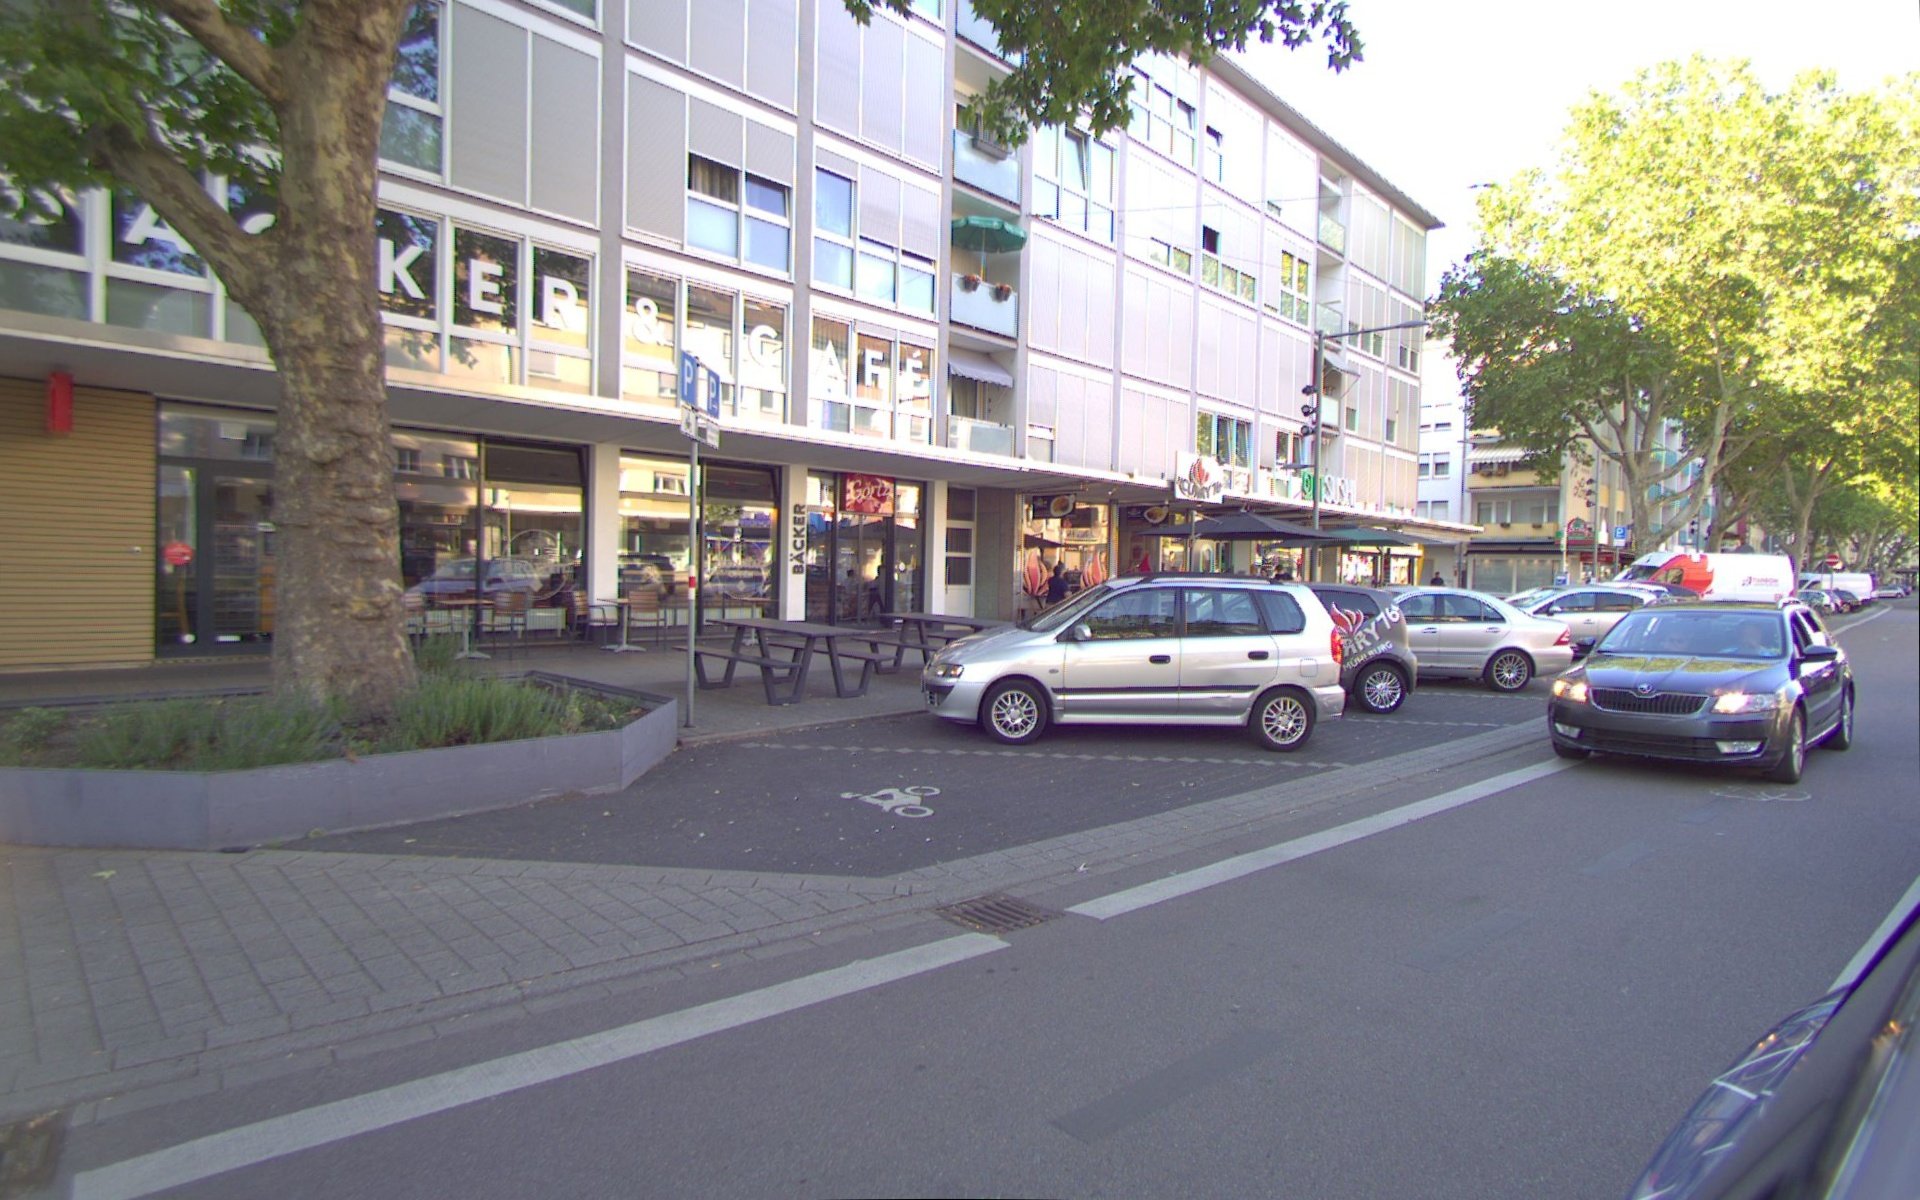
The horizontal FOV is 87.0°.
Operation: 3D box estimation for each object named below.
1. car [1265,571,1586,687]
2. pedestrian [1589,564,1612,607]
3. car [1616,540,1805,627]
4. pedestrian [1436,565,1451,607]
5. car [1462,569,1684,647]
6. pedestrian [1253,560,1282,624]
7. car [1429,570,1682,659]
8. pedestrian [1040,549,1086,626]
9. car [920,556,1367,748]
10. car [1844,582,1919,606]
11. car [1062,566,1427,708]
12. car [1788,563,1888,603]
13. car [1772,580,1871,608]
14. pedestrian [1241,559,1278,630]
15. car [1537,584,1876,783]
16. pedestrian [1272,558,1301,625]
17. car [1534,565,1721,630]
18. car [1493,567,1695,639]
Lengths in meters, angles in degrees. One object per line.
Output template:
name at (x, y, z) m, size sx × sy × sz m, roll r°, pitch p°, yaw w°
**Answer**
car at (6.671, 0.380, 14.805) m, size 3.867 × 1.418 × 1.598 m, roll 2°, pitch 3°, yaw 1°
pedestrian at (31.112, -0.718, 49.151) m, size 0.746 × 2.038 × 0.752 m, roll 3°, pitch 2°, yaw 45°
car at (23.687, -0.535, 32.068) m, size 4.514 × 2.525 × 1.675 m, roll 2°, pitch 0°, yaw 5°
pedestrian at (20.500, -0.583, 42.932) m, size 0.473 × 1.751 × 0.347 m, roll 1°, pitch 1°, yaw 11°
car at (13.714, 0.128, 22.902) m, size 3.886 × 1.446 × 1.670 m, roll 3°, pitch 3°, yaw 16°
pedestrian at (8.209, -0.219, 27.022) m, size 0.536 × 1.660 × 0.470 m, roll 2°, pitch 2°, yaw 45°
car at (11.553, 0.244, 19.840) m, size 3.871 × 1.446 × 1.559 m, roll 3°, pitch 3°, yaw 4°
pedestrian at (2.176, -0.276, 21.421) m, size 0.757 × 1.602 × 0.583 m, roll 0°, pitch 2°, yaw -39°
car at (1.607, 0.437, 9.815) m, size 3.906 × 1.560 × 1.679 m, roll 2°, pitch 3°, yaw -3°
car at (56.409, -0.373, 61.355) m, size 3.864 × 1.350 × 1.782 m, roll 1°, pitch 2°, yaw 3°
car at (3.324, 0.401, 12.317) m, size 3.864 × 1.446 × 1.679 m, roll 2°, pitch 3°, yaw -3°
car at (56.496, -1.117, 65.168) m, size 4.512 × 2.499 × 1.977 m, roll 1°, pitch 2°, yaw 3°
car at (48.132, -0.353, 56.599) m, size 3.864 × 1.422 × 1.782 m, roll 1°, pitch 2°, yaw 3°
pedestrian at (6.903, -0.142, 23.356) m, size 0.559 × 1.596 × 0.632 m, roll 2°, pitch 2°, yaw 44°
car at (7.139, 0.596, 9.517) m, size 4.155 × 1.470 × 1.727 m, roll -1°, pitch 1°, yaw -41°
pedestrian at (8.601, -0.230, 26.635) m, size 0.544 × 1.741 × 0.450 m, roll 2°, pitch 2°, yaw 45°
car at (18.102, -0.111, 27.658) m, size 3.893 × 1.445 × 1.667 m, roll 4°, pitch 5°, yaw 20°
car at (15.766, 0.022, 25.394) m, size 3.888 × 1.445 × 1.669 m, roll 4°, pitch 5°, yaw 17°
